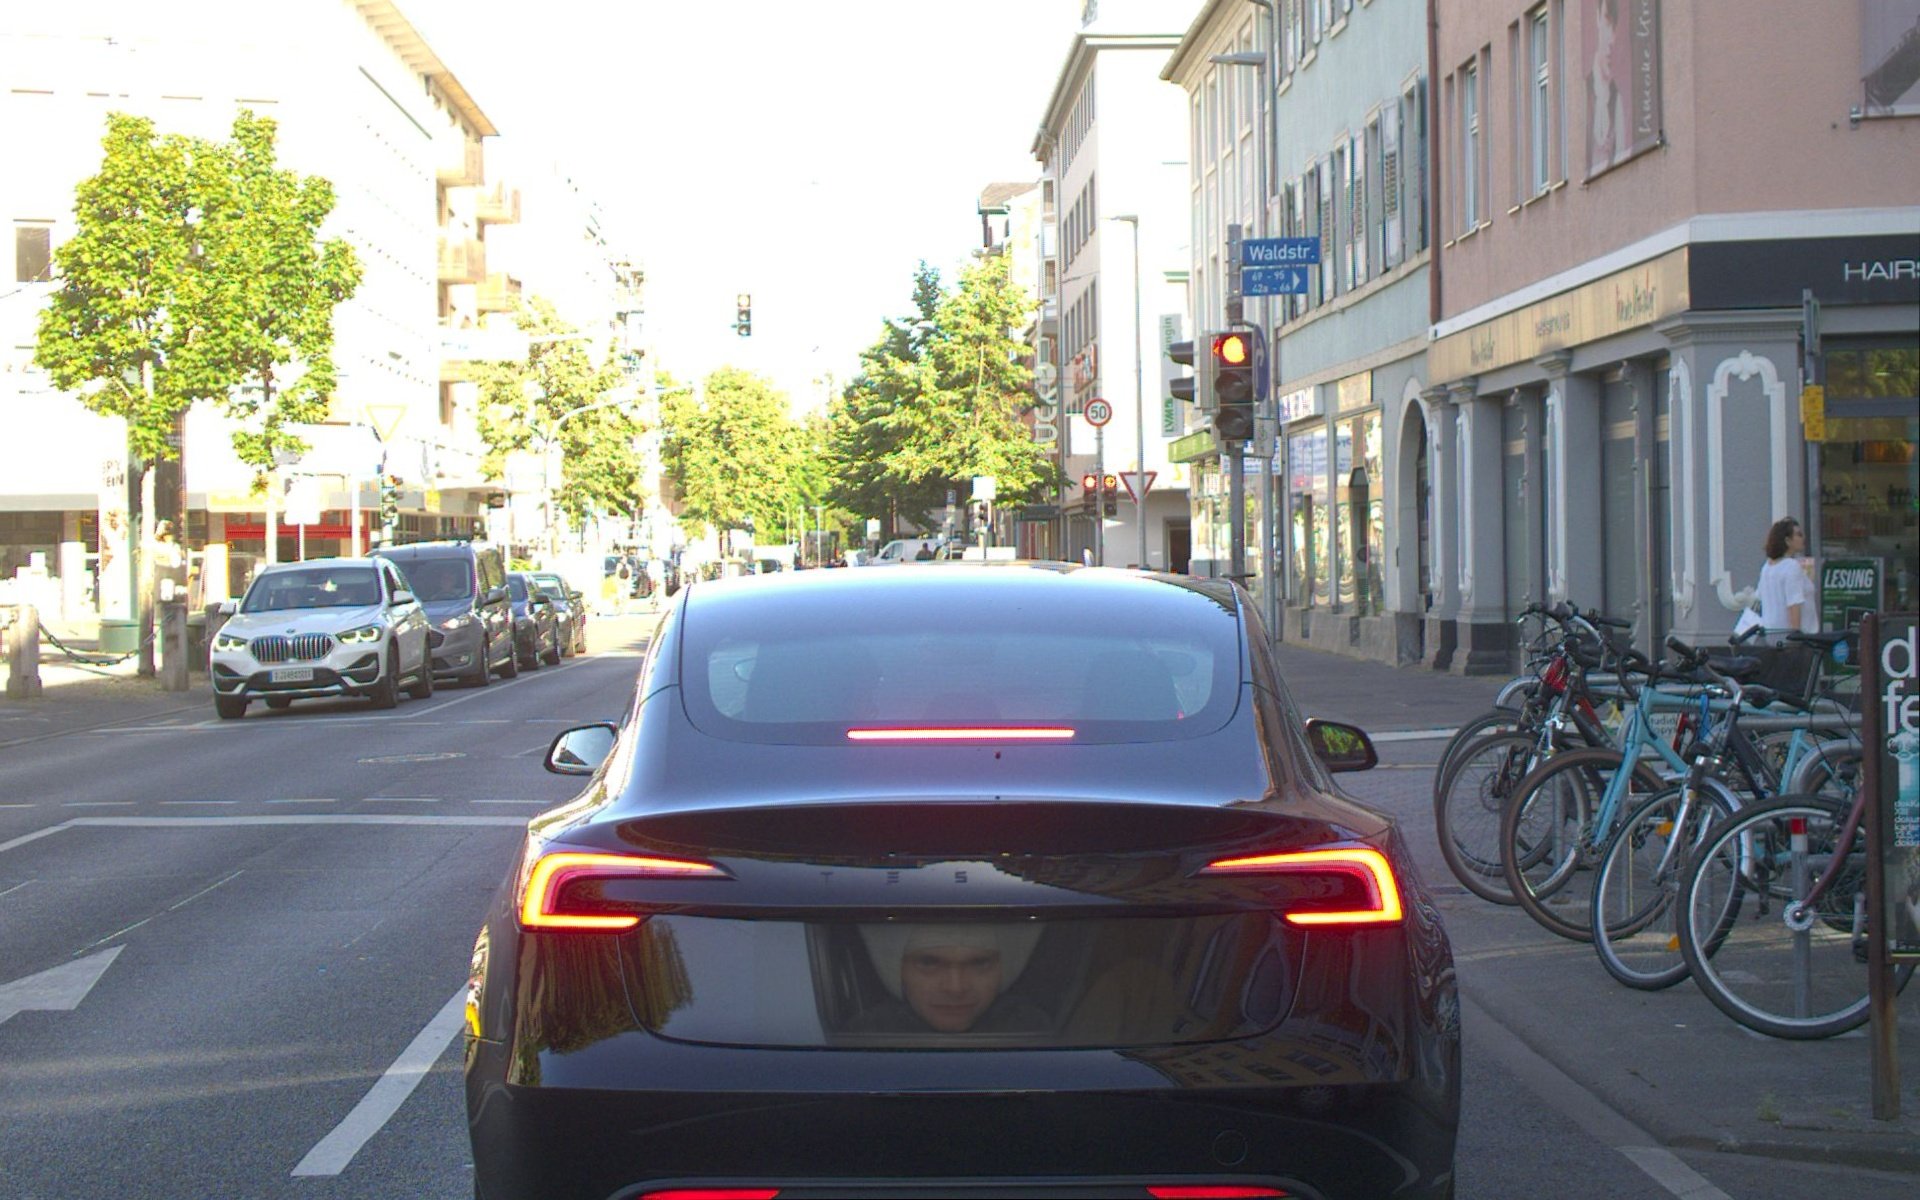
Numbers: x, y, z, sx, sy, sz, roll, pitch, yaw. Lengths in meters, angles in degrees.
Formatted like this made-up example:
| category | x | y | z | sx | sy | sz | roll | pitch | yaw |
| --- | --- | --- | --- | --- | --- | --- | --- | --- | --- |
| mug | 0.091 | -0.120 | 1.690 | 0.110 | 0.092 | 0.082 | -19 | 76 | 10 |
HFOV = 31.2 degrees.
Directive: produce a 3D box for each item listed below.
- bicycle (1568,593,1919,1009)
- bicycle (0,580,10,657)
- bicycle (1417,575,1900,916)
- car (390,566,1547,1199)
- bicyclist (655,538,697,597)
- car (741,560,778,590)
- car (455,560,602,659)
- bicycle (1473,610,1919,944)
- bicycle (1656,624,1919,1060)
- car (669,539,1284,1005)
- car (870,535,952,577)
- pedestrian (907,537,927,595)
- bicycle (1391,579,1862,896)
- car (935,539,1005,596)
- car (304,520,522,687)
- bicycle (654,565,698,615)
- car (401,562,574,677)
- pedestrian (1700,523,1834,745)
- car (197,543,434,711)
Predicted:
| category | x | y | z | sx | sy | sz | roll | pitch | yaw |
| --- | --- | --- | --- | --- | --- | --- | --- | --- | --- |
| bicycle | 2.891 | 0.623 | 11.127 | 1.722 | 1.263 | 0.790 | -2 | 1 | 5 |
| bicycle | -15.704 | 0.282 | 52.241 | 2.323 | 1.152 | 0.843 | 0 | 1 | -5 |
| bicycle | 2.745 | 0.560 | 13.657 | 1.746 | 1.262 | 0.781 | -2 | 1 | 3 |
| car | -0.006 | 0.657 | 7.509 | 1.848 | 1.450 | 4.000 | 0 | 1 | -1 |
| bicyclist | -7.900 | -0.912 | 95.623 | 1.126 | 1.623 | 0.965 | 0 | 1 | -3 |
| car | -10.922 | -1.375 | 187.084 | 1.993 | 1.631 | 4.001 | 0 | 1 | -3 |
| car | -7.103 | 0.122 | 57.033 | 1.993 | 1.431 | 4.675 | -4 | 1 | -3 |
| bicycle | 2.811 | 0.625 | 12.479 | 1.798 | 1.120 | 0.781 | -2 | 1 | 5 |
| bicycle | 3.037 | 0.672 | 9.995 | 1.886 | 1.189 | 0.691 | -2 | 1 | 5 |
| car | -0.014 | 0.522 | 13.217 | 1.993 | 1.507 | 4.176 | 0 | 1 | -2 |
| car | -2.402 | -2.154 | 167.562 | 3.986 | 2.007 | 2.000 | 0 | 1 | -2 |
| pedestrian | -1.514 | -1.185 | 120.412 | 0.640 | 2.007 | 0.691 | 0 | 1 | -4 |
| bicycle | 2.815 | 0.572 | 14.687 | 1.862 | 1.253 | 0.832 | -2 | 1 | 5 |
| car | 0.277 | -0.964 | 100.786 | 1.993 | 1.623 | 4.000 | 0 | 1 | 0 |
| car | -6.707 | -0.003 | 42.613 | 1.834 | 1.838 | 4.674 | -4 | 1 | 0 |
| bicycle | -7.882 | -0.297 | 95.540 | 1.111 | 1.340 | 4.001 | 0 | 1 | -3 |
| car | -6.738 | 0.241 | 49.442 | 1.993 | 1.405 | 4.675 | -4 | 1 | -3 |
| pedestrian | 5.718 | 0.230 | 24.388 | 0.747 | 1.547 | 0.699 | 0 | 1 | -5 |
| car | -6.742 | 0.233 | 36.366 | 1.807 | 1.550 | 4.310 | -4 | 1 | -3 |
